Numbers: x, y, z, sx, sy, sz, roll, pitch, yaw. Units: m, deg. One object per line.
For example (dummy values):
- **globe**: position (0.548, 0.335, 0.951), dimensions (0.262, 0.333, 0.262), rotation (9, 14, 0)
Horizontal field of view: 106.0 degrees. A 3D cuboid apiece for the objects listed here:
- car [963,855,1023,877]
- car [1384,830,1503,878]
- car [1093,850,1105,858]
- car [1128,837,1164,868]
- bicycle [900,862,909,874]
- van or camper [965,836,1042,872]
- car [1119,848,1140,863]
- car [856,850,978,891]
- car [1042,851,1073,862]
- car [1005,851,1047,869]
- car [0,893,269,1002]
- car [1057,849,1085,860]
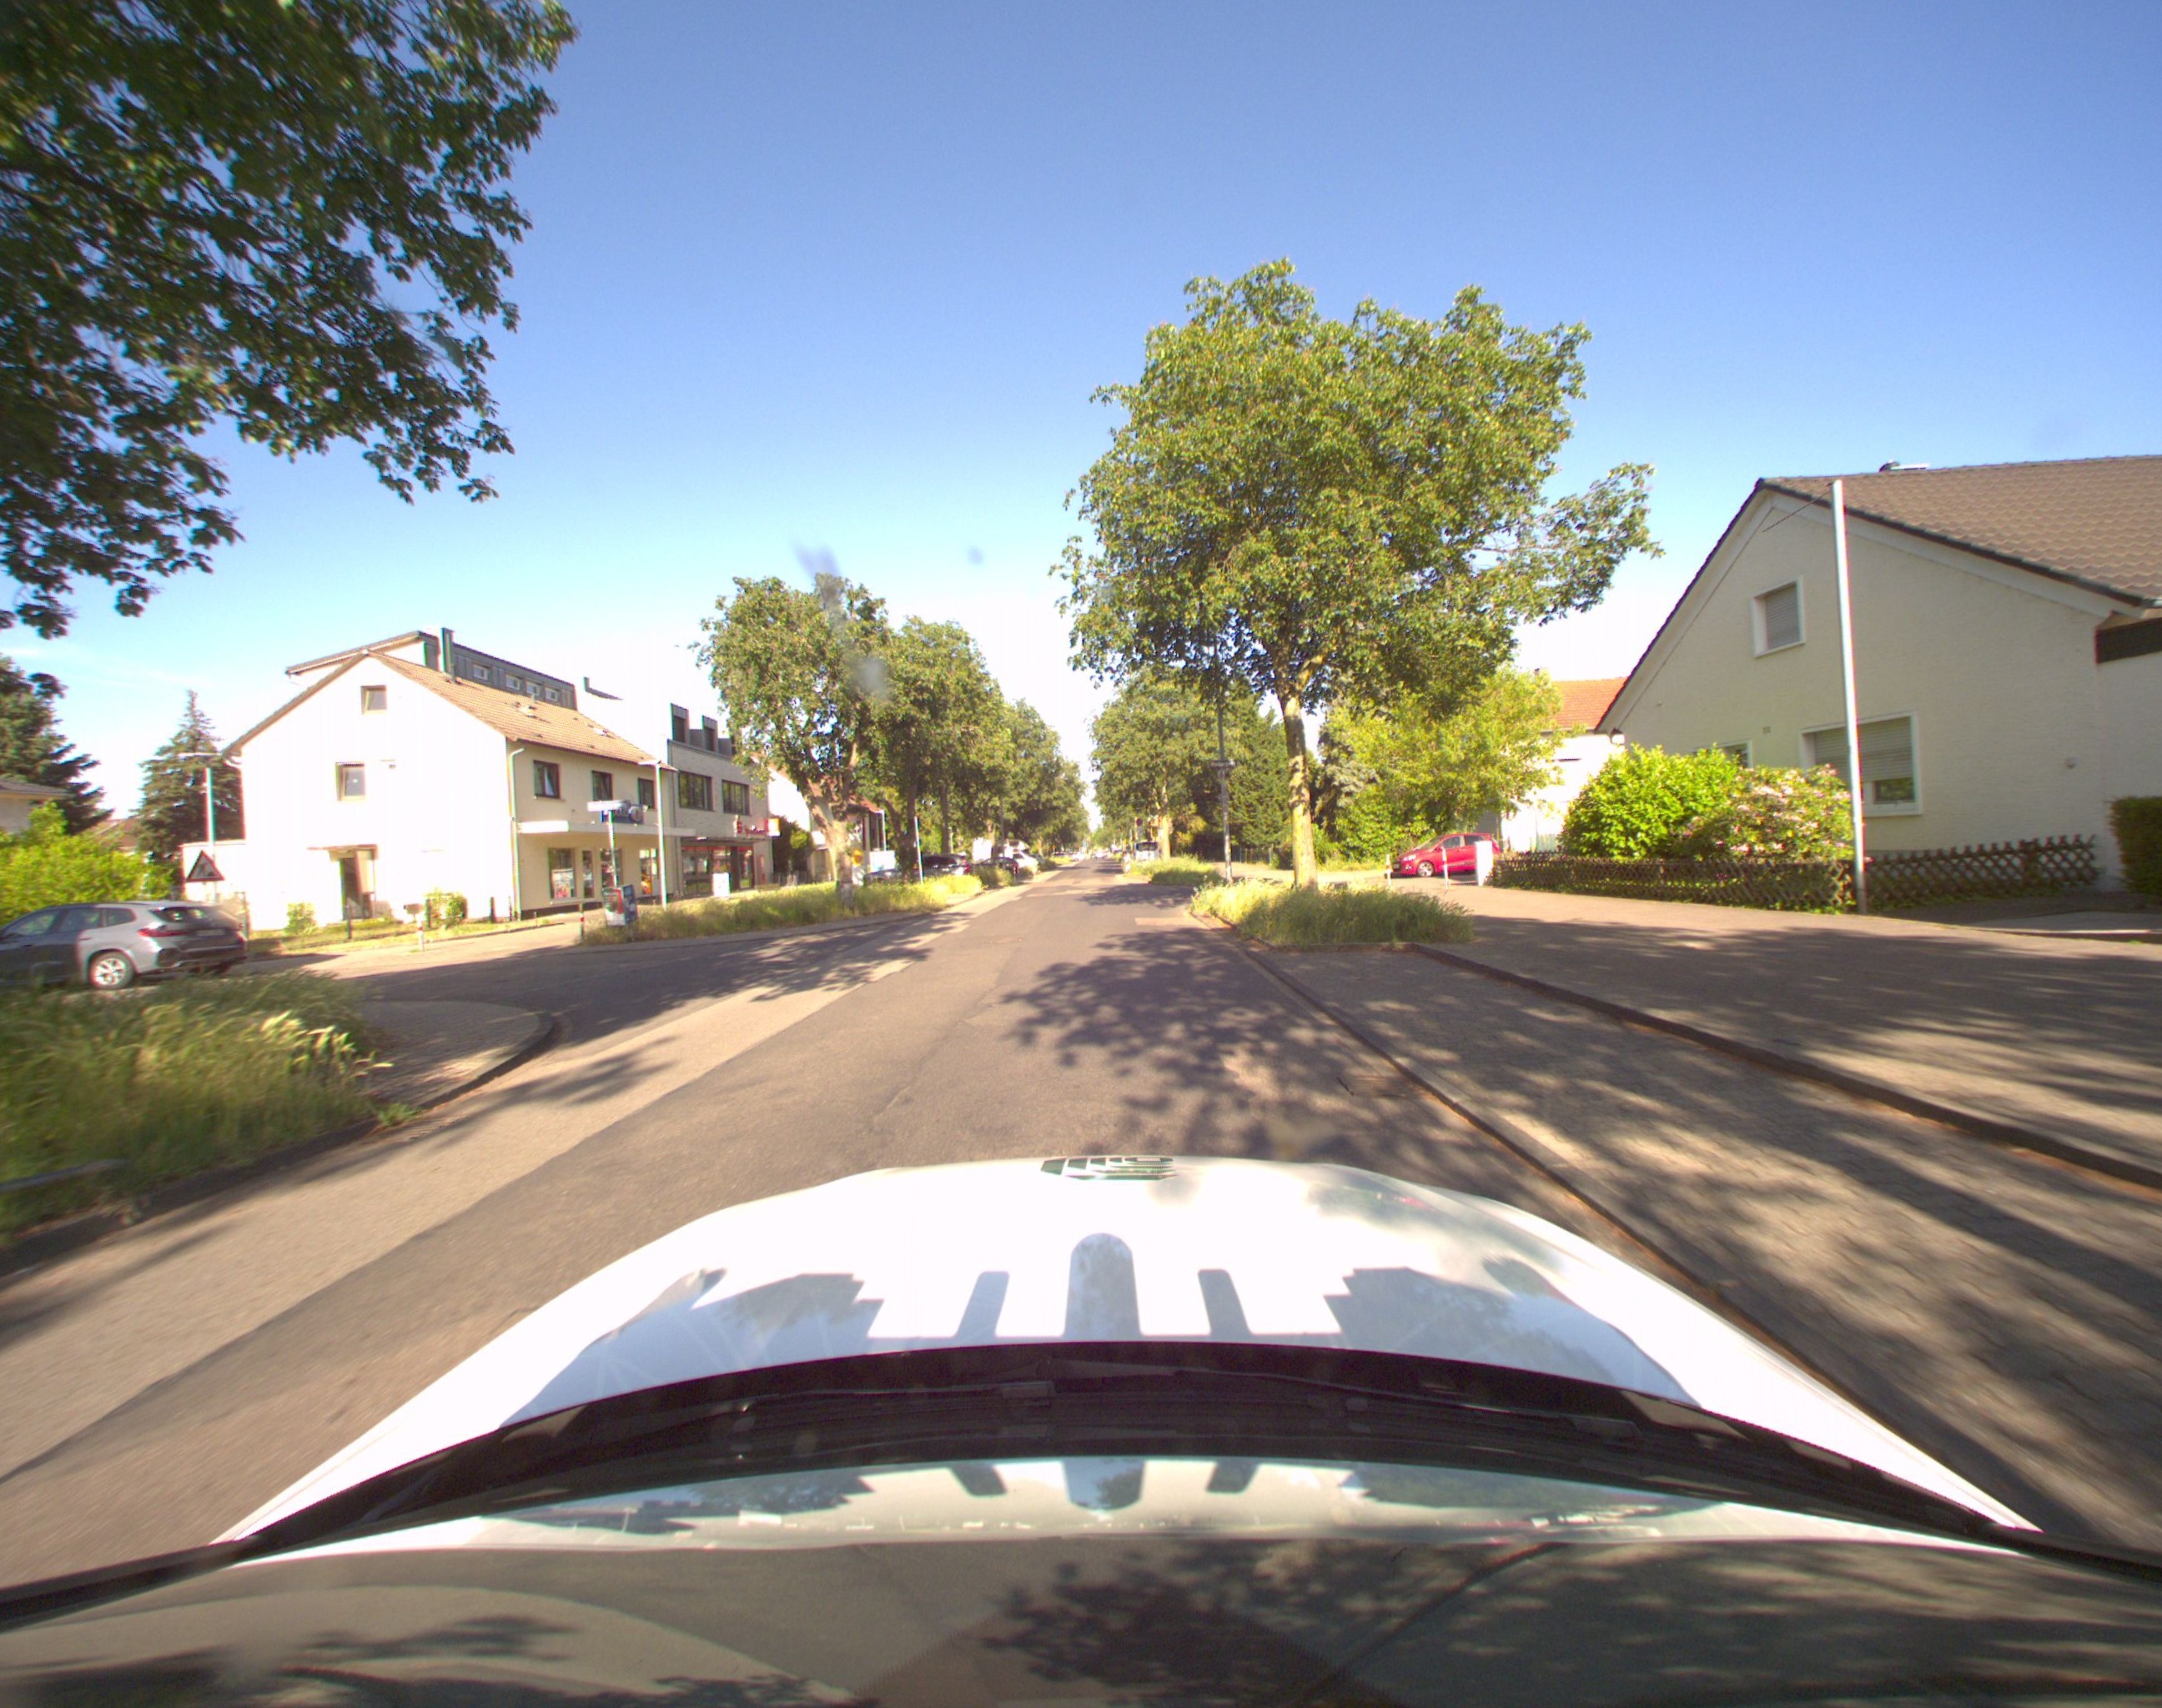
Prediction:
- **car**: position (-6.168, 0.827, 57.260), dimensions (3.969, 1.450, 1.641), rotation (-1, -1, 4)
- **car**: position (12.958, -0.021, 29.200), dimensions (3.532, 1.510, 1.638), rotation (-2, 1, -3)
- **car**: position (3.498, 0.052, 159.460), dimensions (1.990, 1.508, 3.652), rotation (0, 0, -5)
- **car**: position (4.340, -0.090, 55.121), dimensions (1.987, 2.014, 5.195), rotation (0, 0, 0)
- **bicycle**: position (-18.610, 1.423, 85.868), dimensions (0.705, 1.176, 4.035), rotation (-3, 1, -15)
- **van or camper**: position (-6.084, 0.015, 64.084), dimensions (5.752, 2.805, 2.002), rotation (0, -1, 3)
- **car**: position (5.513, 0.182, 92.557), dimensions (1.982, 1.510, 4.009), rotation (-4, -1, 8)
- **car**: position (-7.192, 0.725, 36.171), dimensions (5.049, 1.728, 1.998), rotation (0, 0, -3)
- **car**: position (-3.695, 0.445, 127.075), dimensions (4.653, 1.503, 2.001), rotation (-2, 0, 2)
- **car**: position (-5.422, 0.591, 80.812), dimensions (3.974, 1.660, 1.967), rotation (-2, 0, 0)
- **car**: position (-18.442, 1.741, 15.349), dimensions (3.981, 1.638, 1.997), rotation (-4, 0, -5)
- **car**: position (-1.581, 0.100, 128.991), dimensions (4.185, 1.455, 2.006), rotation (-3, 0, 10)
